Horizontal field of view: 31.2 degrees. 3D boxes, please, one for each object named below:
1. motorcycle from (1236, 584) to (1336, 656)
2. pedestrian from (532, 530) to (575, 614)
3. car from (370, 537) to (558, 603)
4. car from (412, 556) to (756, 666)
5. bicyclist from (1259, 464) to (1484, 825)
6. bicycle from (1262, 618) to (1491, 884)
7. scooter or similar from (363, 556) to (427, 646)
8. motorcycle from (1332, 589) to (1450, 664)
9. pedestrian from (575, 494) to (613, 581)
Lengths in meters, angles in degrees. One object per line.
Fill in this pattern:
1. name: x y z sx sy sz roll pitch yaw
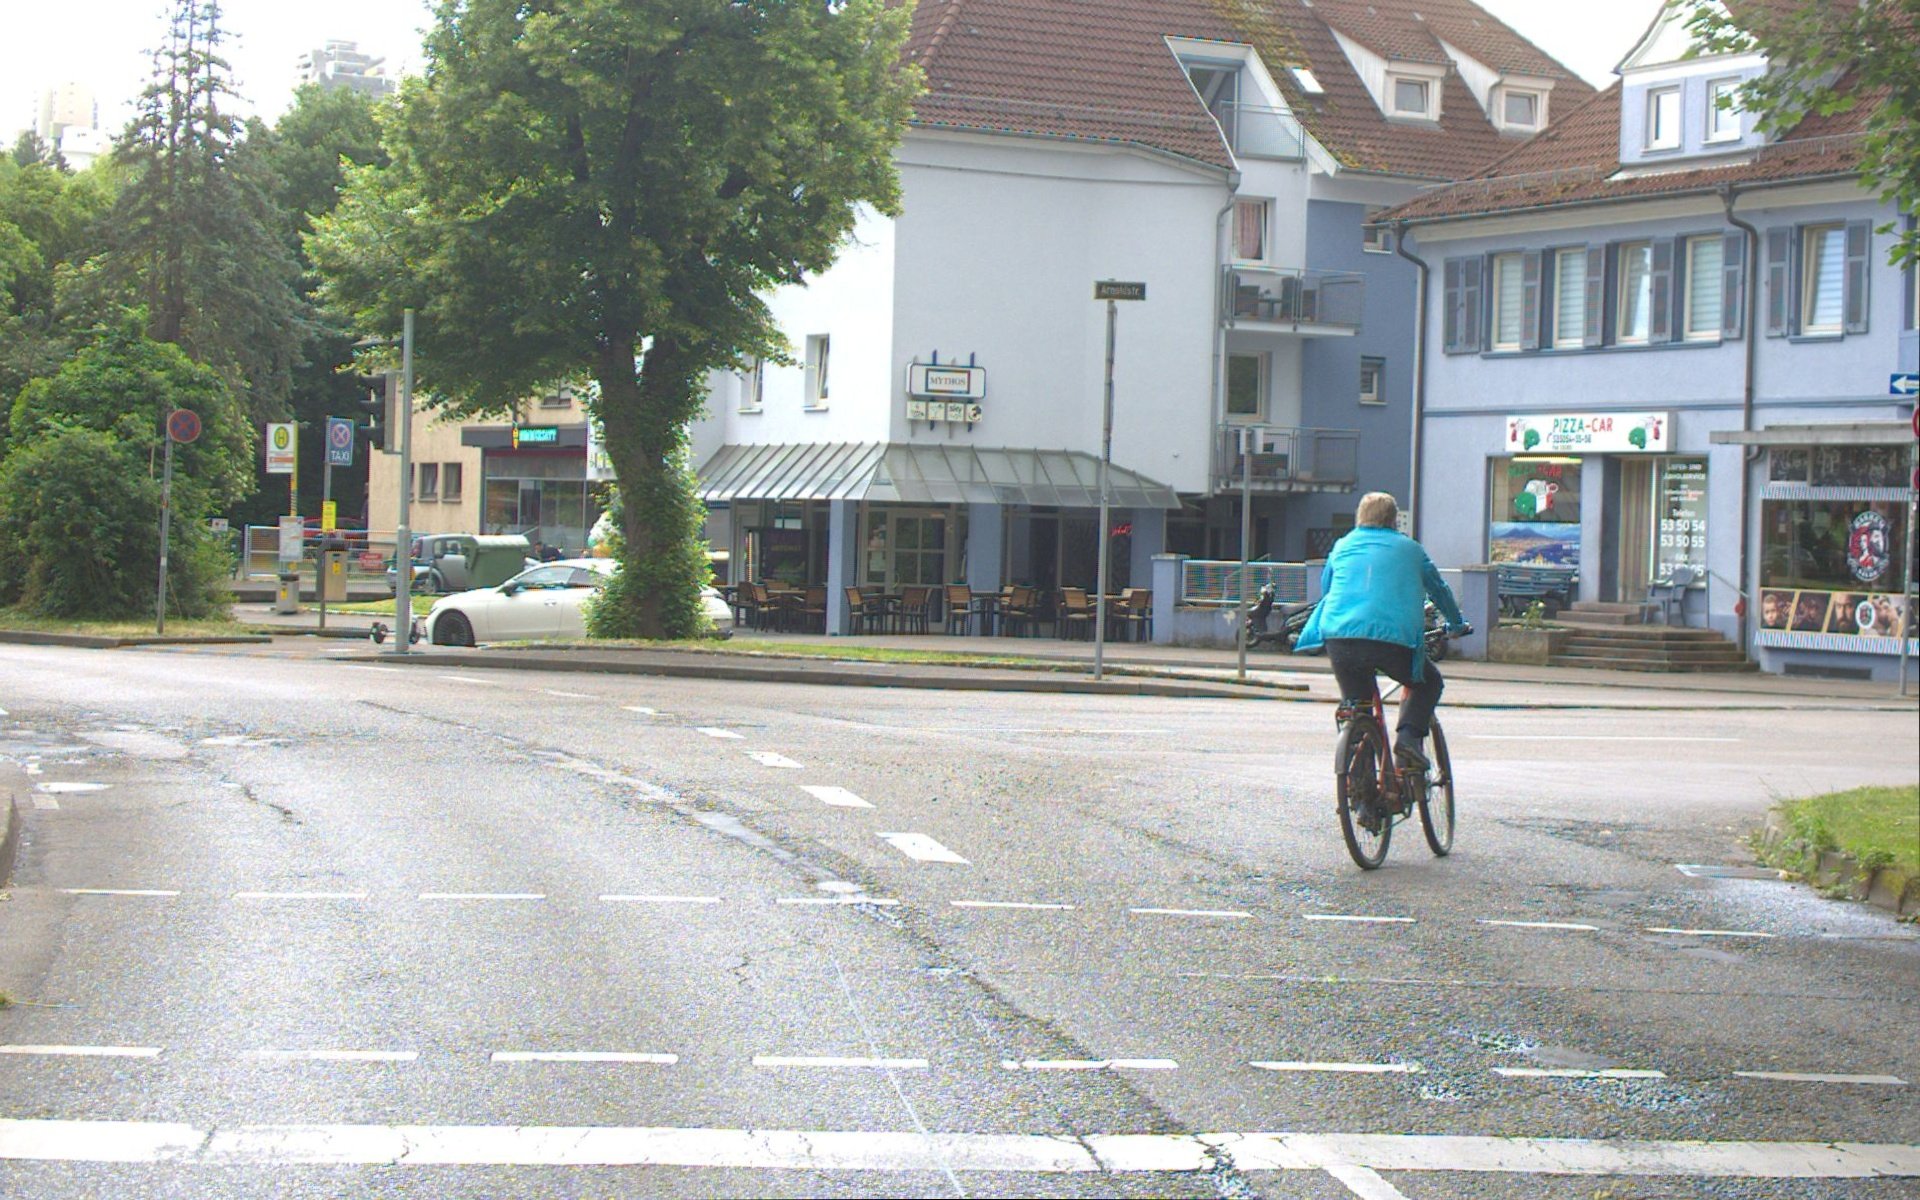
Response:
1. motorcycle: 5.068 0.307 53.543 1.458 1.085 0.523 1 1 34
2. pedestrian: -9.889 -0.682 83.645 0.837 2.007 1.056 1 1 -16
3. car: -11.341 -0.688 78.538 3.936 1.437 1.753 1 1 -21
4. car: -5.369 0.135 48.842 4.708 1.405 1.899 2 1 33
5. bicyclist: 1.974 0.195 16.399 0.916 1.646 0.988 1 1 14
6. bicycle: 2.029 0.683 16.517 0.874 1.145 1.952 1 1 13
7. scooter or similar: -7.495 0.007 45.628 0.442 1.171 1.437 1 1 7
8. motorcycle: 6.498 0.388 51.817 1.628 1.085 0.626 1 1 30
9. pedestrian: -6.621 -1.129 62.181 0.543 1.554 0.467 1 0 12
